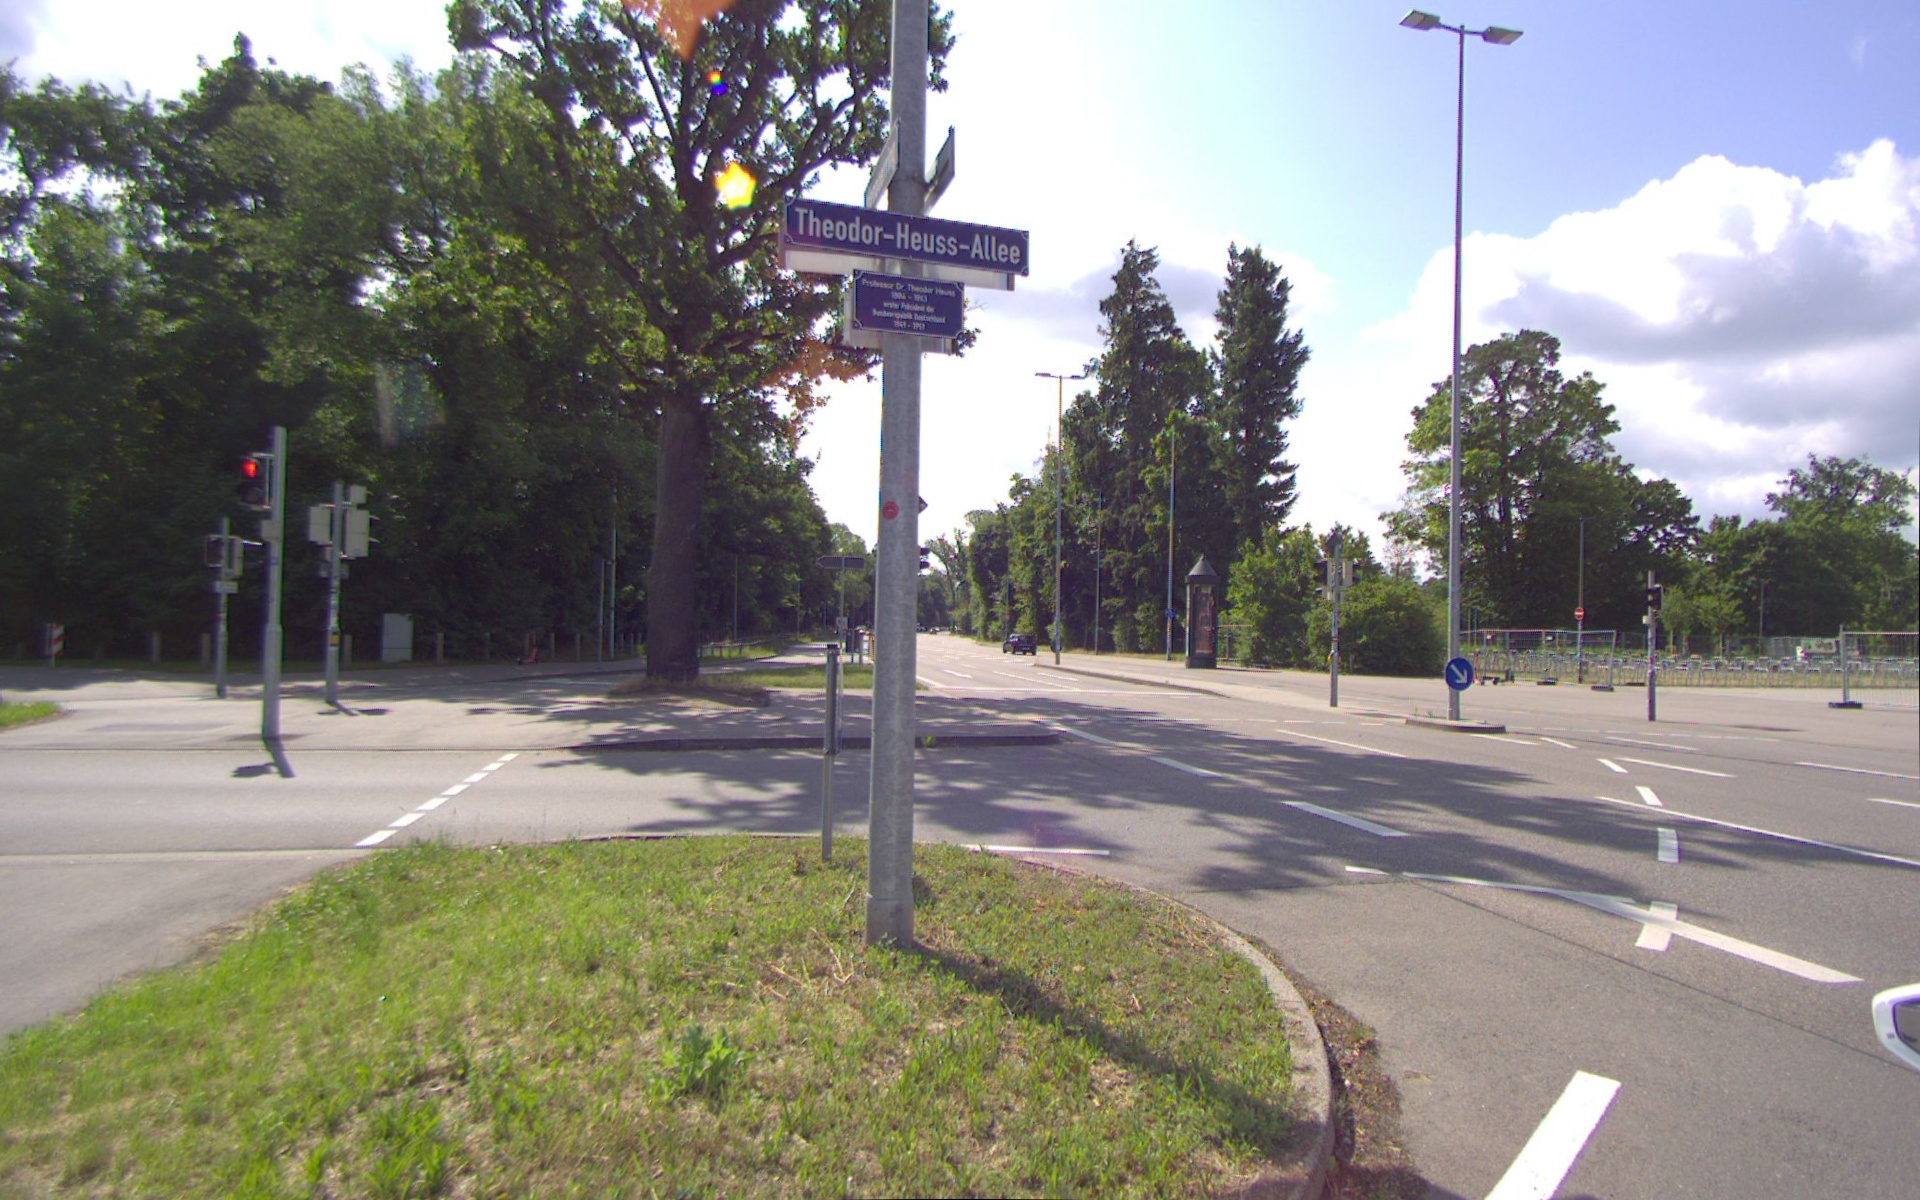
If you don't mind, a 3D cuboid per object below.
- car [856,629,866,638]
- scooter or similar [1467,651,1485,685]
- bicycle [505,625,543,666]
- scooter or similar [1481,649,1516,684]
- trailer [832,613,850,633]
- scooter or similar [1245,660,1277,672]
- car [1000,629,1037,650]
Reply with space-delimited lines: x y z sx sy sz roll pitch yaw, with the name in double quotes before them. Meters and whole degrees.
"car" -17.554 5.946 178.043 1.478 1.465 3.530 2 -2 0
"scooter or similar" 18.919 2.480 36.850 0.399 1.216 1.312 0 -2 20
"bicycle" -13.153 1.378 30.328 0.412 1.188 1.230 2 -2 10
"scooter or similar" 20.010 2.459 37.319 1.291 1.268 0.406 1 -1 -19
"trailer" -15.271 3.016 129.268 1.962 2.420 3.998 2 -2 -4
"scooter or similar" 14.809 3.231 49.469 0.841 0.393 1.470 7 -2 -13
"car" 4.065 2.766 70.686 1.575 1.396 3.968 3 -2 -11
